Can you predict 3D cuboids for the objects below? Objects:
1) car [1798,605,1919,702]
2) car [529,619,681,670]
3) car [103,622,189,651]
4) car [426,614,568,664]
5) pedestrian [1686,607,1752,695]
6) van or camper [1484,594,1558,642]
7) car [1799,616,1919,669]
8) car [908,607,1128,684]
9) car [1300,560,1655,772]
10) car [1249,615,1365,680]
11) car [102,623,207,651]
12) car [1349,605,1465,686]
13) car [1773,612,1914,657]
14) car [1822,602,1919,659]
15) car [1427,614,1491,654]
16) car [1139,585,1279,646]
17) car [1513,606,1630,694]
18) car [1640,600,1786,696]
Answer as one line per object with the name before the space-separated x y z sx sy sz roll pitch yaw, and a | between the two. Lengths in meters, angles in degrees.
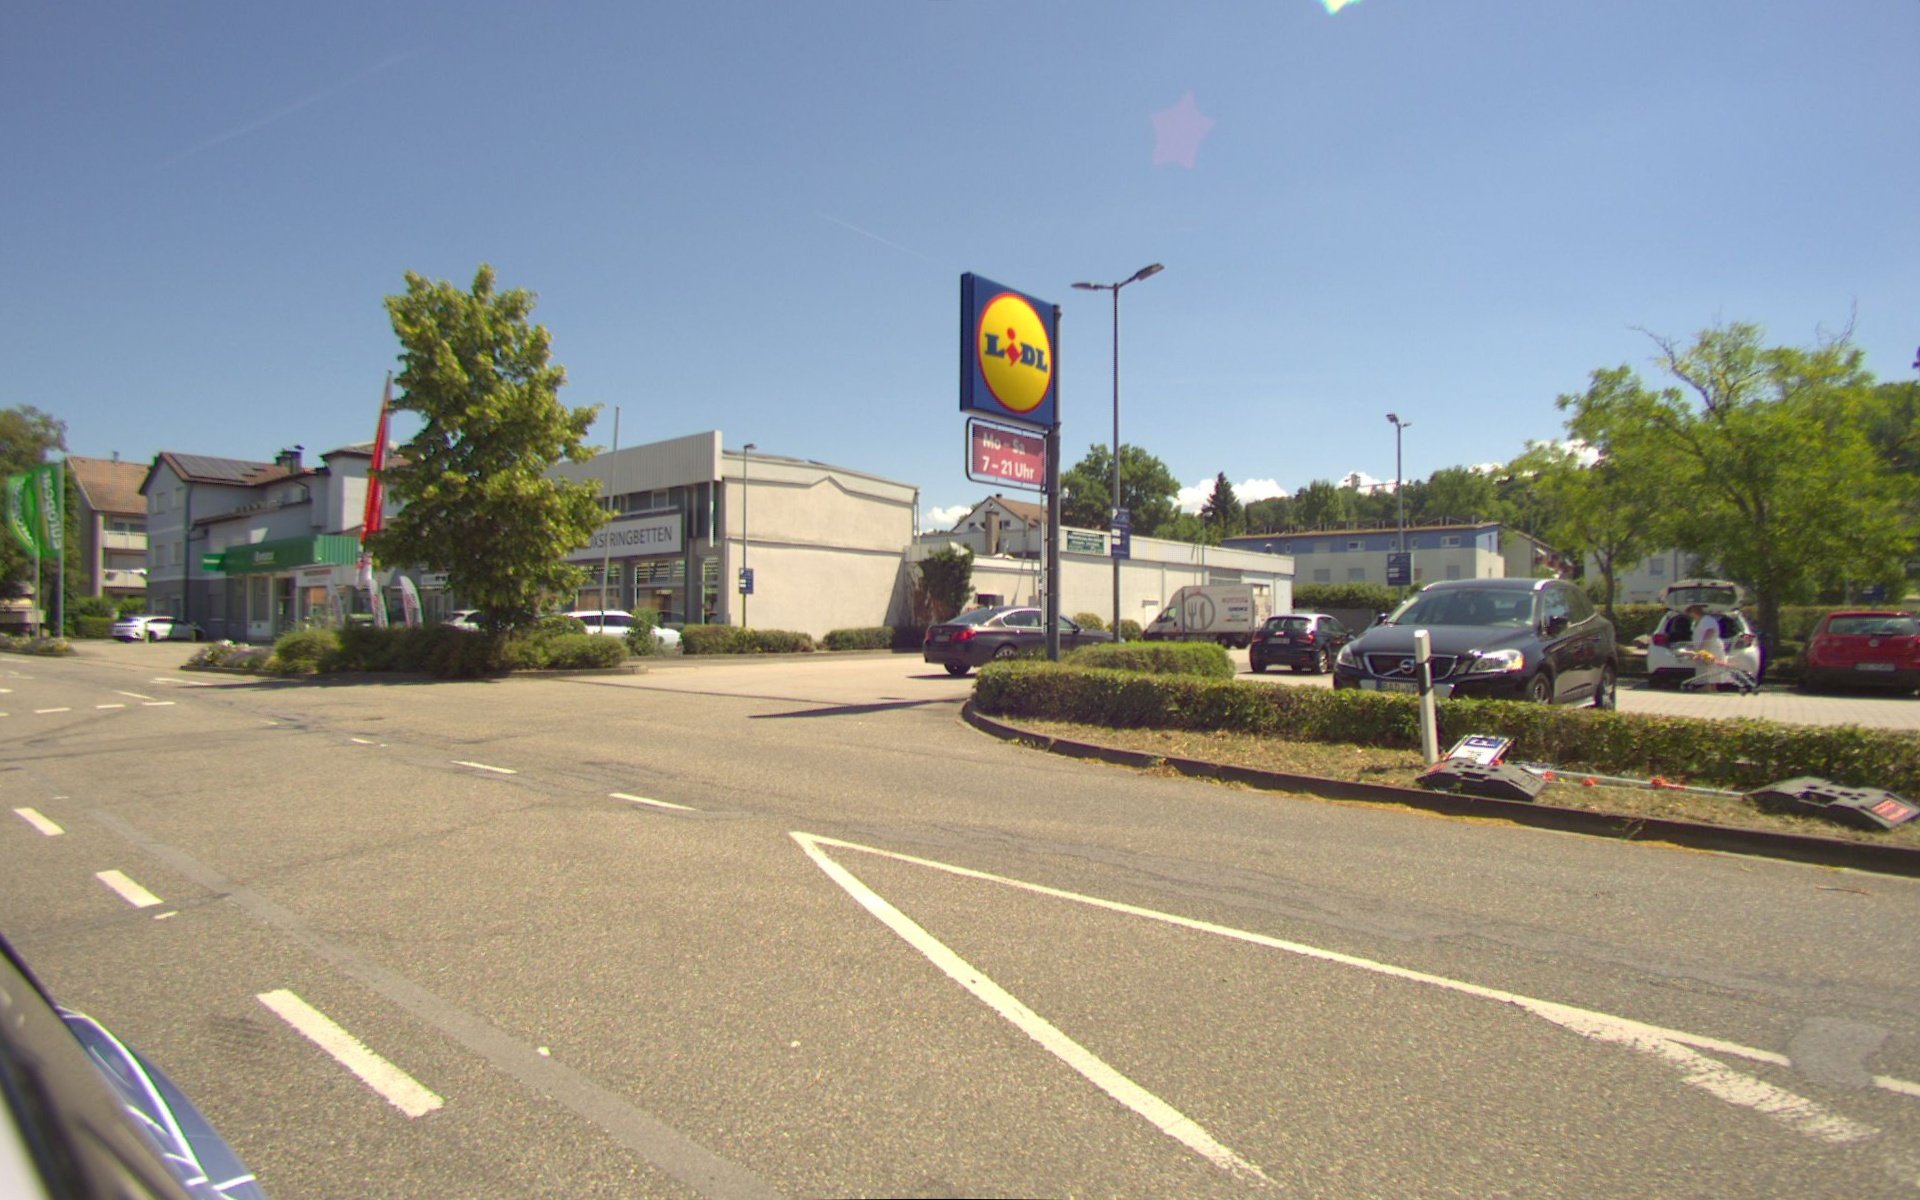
car | 16.474 0.877 18.275 1.824 1.541 4.272 -1 0 37
car | -11.174 1.353 31.936 4.129 1.457 1.984 0 -1 -37
car | -47.706 2.120 59.354 1.966 1.577 3.528 -1 -1 36
car | -16.966 1.407 37.183 4.469 1.676 2.005 0 -1 -35
pedestrian | 13.376 0.876 17.856 0.889 1.494 0.799 -1 0 36
van or camper | 24.177 0.744 43.559 2.008 1.951 4.318 -1 0 40
car | 29.967 1.342 32.989 3.997 1.613 1.775 -1 0 40
car | 1.319 0.885 21.586 4.615 1.411 1.942 0 0 -40
car | 5.741 0.549 10.910 2.099 1.775 4.654 -1 0 45
car | 8.516 1.090 24.594 1.764 1.379 4.203 -1 0 32
car | -44.957 2.050 56.590 1.921 1.450 4.335 -1 -1 14
car | 9.929 0.921 22.316 1.764 1.601 4.203 -1 0 32
car | 33.937 1.291 39.036 3.997 1.613 1.775 -1 0 40
car | 27.636 0.859 29.337 3.997 1.613 1.775 -1 0 40
car | 18.927 1.241 38.329 1.764 1.379 4.203 -1 0 32
car | 11.497 0.702 46.983 5.894 2.647 2.258 -1 0 40
car | 12.782 0.944 21.145 1.906 1.618 4.279 -1 0 32
car | 14.890 0.854 20.083 2.111 1.667 4.272 -1 0 37
